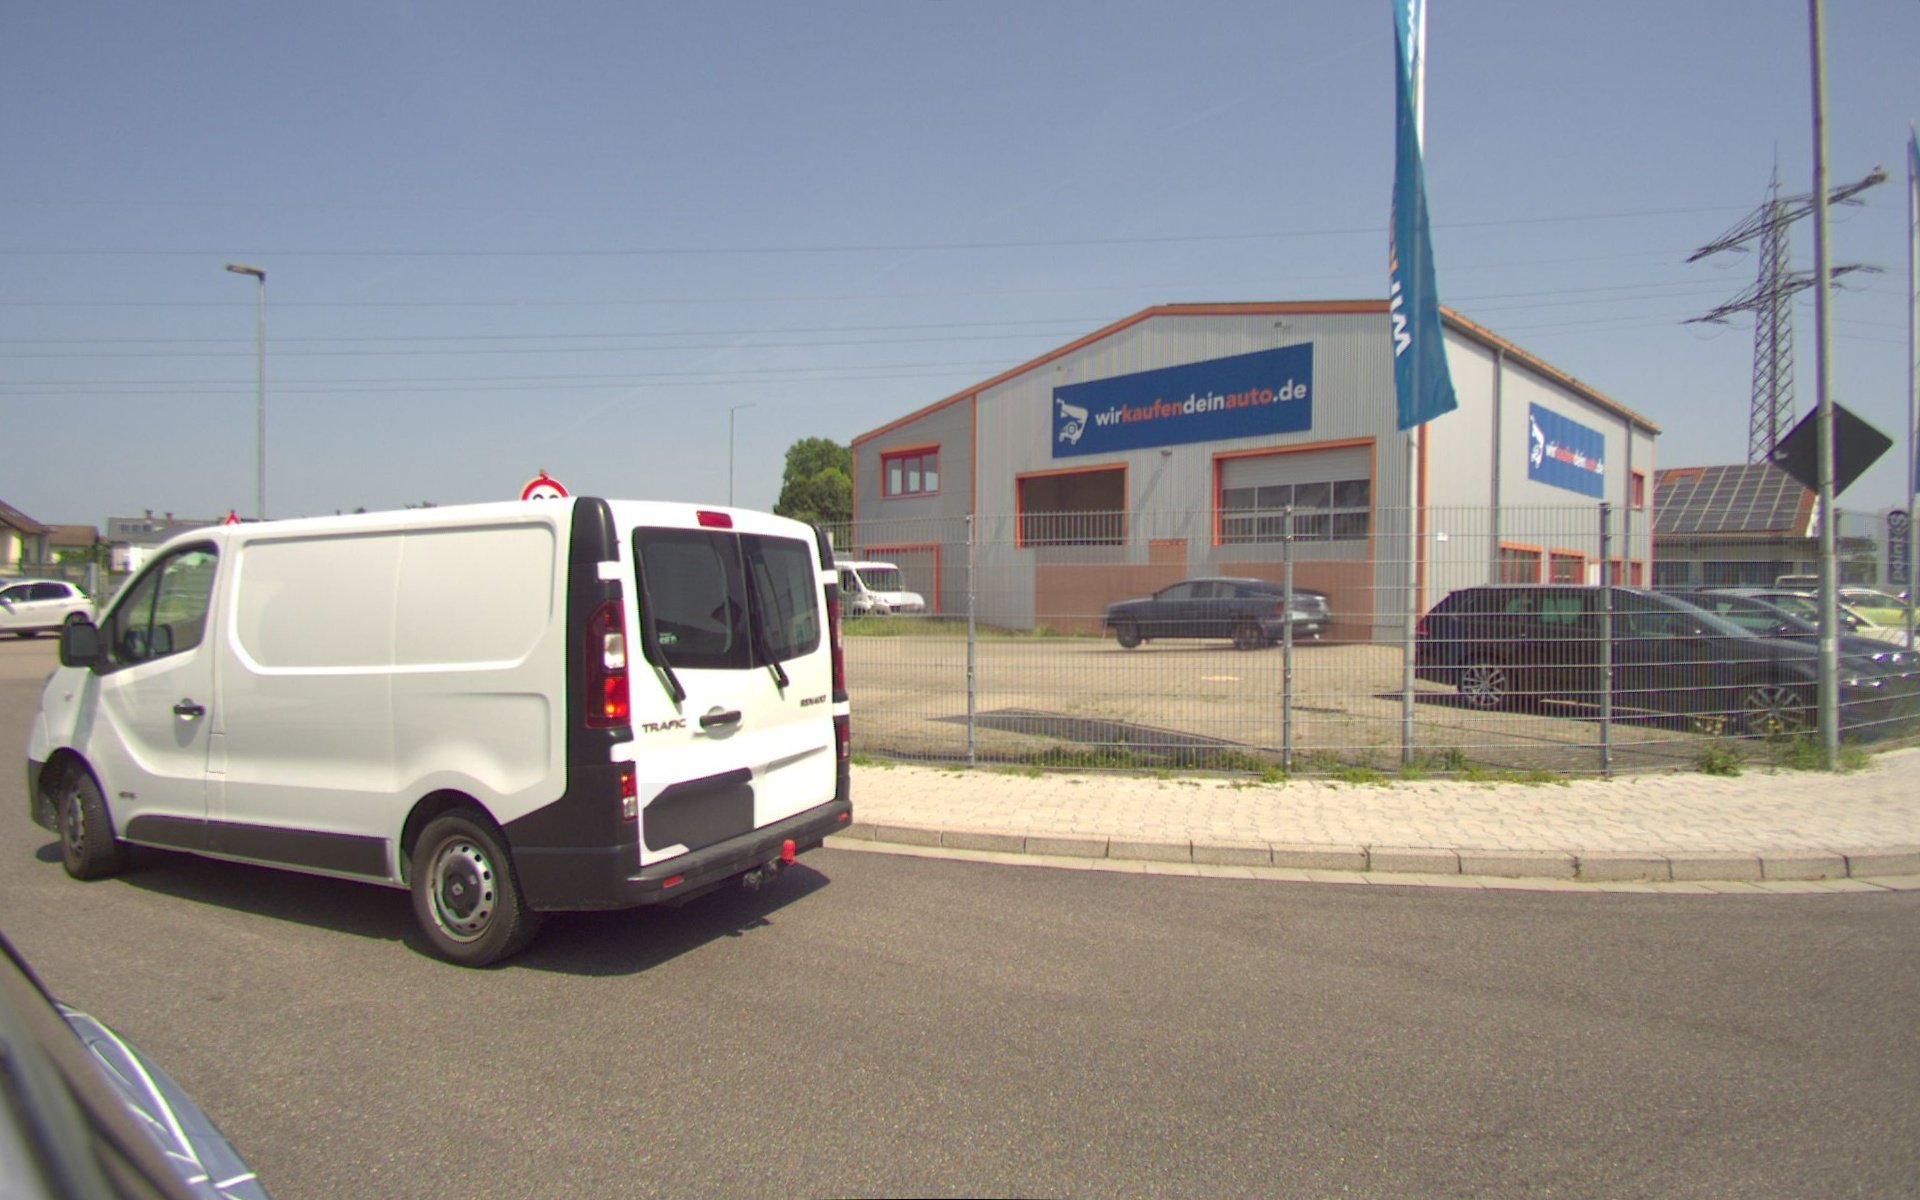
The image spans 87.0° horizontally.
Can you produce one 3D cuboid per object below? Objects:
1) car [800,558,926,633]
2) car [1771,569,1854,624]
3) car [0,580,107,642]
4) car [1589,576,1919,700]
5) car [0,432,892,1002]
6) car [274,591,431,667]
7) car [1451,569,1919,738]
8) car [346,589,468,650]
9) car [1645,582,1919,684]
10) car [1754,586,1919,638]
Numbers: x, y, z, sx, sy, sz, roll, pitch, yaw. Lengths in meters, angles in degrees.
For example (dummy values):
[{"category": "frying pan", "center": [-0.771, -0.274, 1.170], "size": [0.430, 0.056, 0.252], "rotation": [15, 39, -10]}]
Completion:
[{"category": "car", "center": [-3.136, -0.149, 32.093], "size": [1.968, 2.212, 4.331], "rotation": [-1, 0, -38]}, {"category": "car", "center": [33.218, -0.122, 39.388], "size": [4.610, 2.029, 2.002], "rotation": [0, -1, -44]}, {"category": "car", "center": [-24.357, 0.281, 25.533], "size": [1.756, 1.514, 4.148], "rotation": [-1, 1, 11]}, {"category": "car", "center": [11.081, 0.457, 13.899], "size": [3.995, 1.514, 1.752], "rotation": [0, 0, 38]}, {"category": "car", "center": [-2.949, 0.474, 5.587], "size": [4.783, 2.076, 1.993], "rotation": [-1, -2, 24]}, {"category": "car", "center": [-13.367, 0.579, 22.179], "size": [3.997, 1.514, 1.751], "rotation": [0, 1, 40]}, {"category": "car", "center": [7.715, 0.471, 10.966], "size": [3.999, 1.514, 1.750], "rotation": [0, 0, 42]}, {"category": "car", "center": [-15.055, 0.482, 27.472], "size": [4.001, 1.514, 1.750], "rotation": [0, 1, 43]}, {"category": "car", "center": [12.980, 0.457, 15.801], "size": [3.461, 1.475, 1.580], "rotation": [0, 1, 20]}, {"category": "car", "center": [26.786, 0.344, 30.564], "size": [4.049, 1.505, 1.738], "rotation": [0, 1, 10]}]
